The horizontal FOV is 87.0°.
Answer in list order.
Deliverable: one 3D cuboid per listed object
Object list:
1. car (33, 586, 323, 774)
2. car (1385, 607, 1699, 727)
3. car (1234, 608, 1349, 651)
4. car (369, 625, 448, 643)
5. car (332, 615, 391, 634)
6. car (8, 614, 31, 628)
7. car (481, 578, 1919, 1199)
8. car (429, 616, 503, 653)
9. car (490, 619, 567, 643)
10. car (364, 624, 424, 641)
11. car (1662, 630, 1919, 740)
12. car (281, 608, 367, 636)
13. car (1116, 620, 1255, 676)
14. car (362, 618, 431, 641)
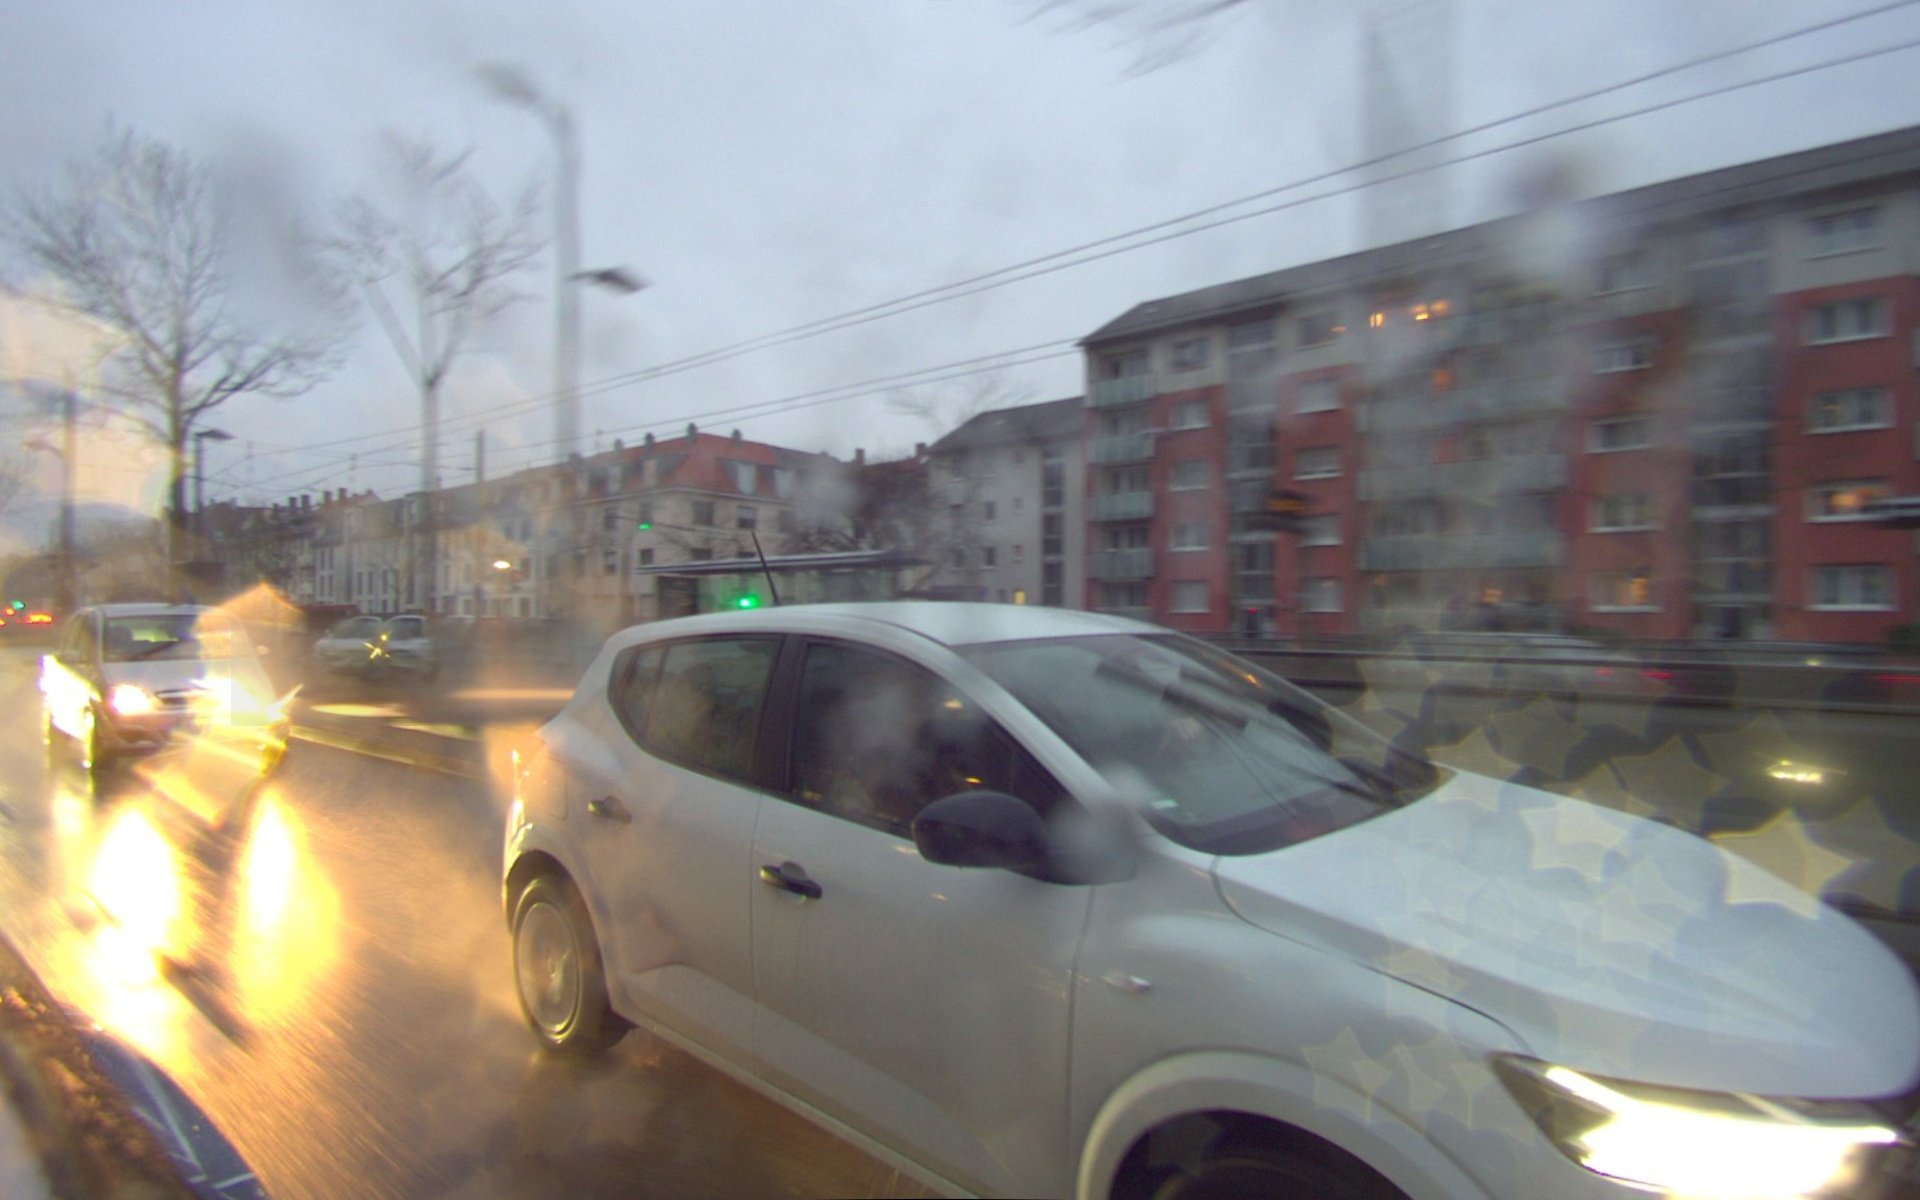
[{"bbox_3d":[-8.736,0.702,11.177,4.001,1.690,1.993,0,0,44],"label":"car"},{"bbox_3d":[10.903,1.138,19.184,4.900,1.927,2.002,0,0,41],"label":"car"},{"bbox_3d":[9.369,0.814,28.666,2.855,1.108,1.247,0,0,44],"label":"car"},{"bbox_3d":[-35.798,2.211,65.800,4.331,1.140,1.251,1,0,-16],"label":"car"},{"bbox_3d":[-44.184,1.799,74.812,3.547,1.395,1.317,0,-2,-18],"label":"car"},{"bbox_3d":[-144.470,3.225,155.489,3.995,2.029,1.975,0,0,38],"label":"car"},{"bbox_3d":[0.358,0.704,2.826,3.999,1.477,1.690,0,0,42],"label":"car"},{"bbox_3d":[-23.295,1.609,47.715,3.741,1.651,1.509,0,-1,35],"label":"car"},{"bbox_3d":[-24.737,1.774,58.127,3.932,1.265,1.448,0,0,-16],"label":"car"},{"bbox_3d":[-38.034,2.205,68.038,3.258,1.140,1.317,1,-2,-16],"label":"car"},{"bbox_3d":[15.781,1.516,19.136,3.997,1.772,1.674,0,0,40],"label":"car"},{"bbox_3d":[-52.574,1.806,83.786,5.809,2.271,1.827,0,0,-16],"label":"car"},{"bbox_3d":[6.122,1.261,27.601,3.374,1.368,1.570,0,0,41],"label":"car"},{"bbox_3d":[-39.194,2.038,70.456,3.945,1.516,1.317,0,0,-14],"label":"car"}]
